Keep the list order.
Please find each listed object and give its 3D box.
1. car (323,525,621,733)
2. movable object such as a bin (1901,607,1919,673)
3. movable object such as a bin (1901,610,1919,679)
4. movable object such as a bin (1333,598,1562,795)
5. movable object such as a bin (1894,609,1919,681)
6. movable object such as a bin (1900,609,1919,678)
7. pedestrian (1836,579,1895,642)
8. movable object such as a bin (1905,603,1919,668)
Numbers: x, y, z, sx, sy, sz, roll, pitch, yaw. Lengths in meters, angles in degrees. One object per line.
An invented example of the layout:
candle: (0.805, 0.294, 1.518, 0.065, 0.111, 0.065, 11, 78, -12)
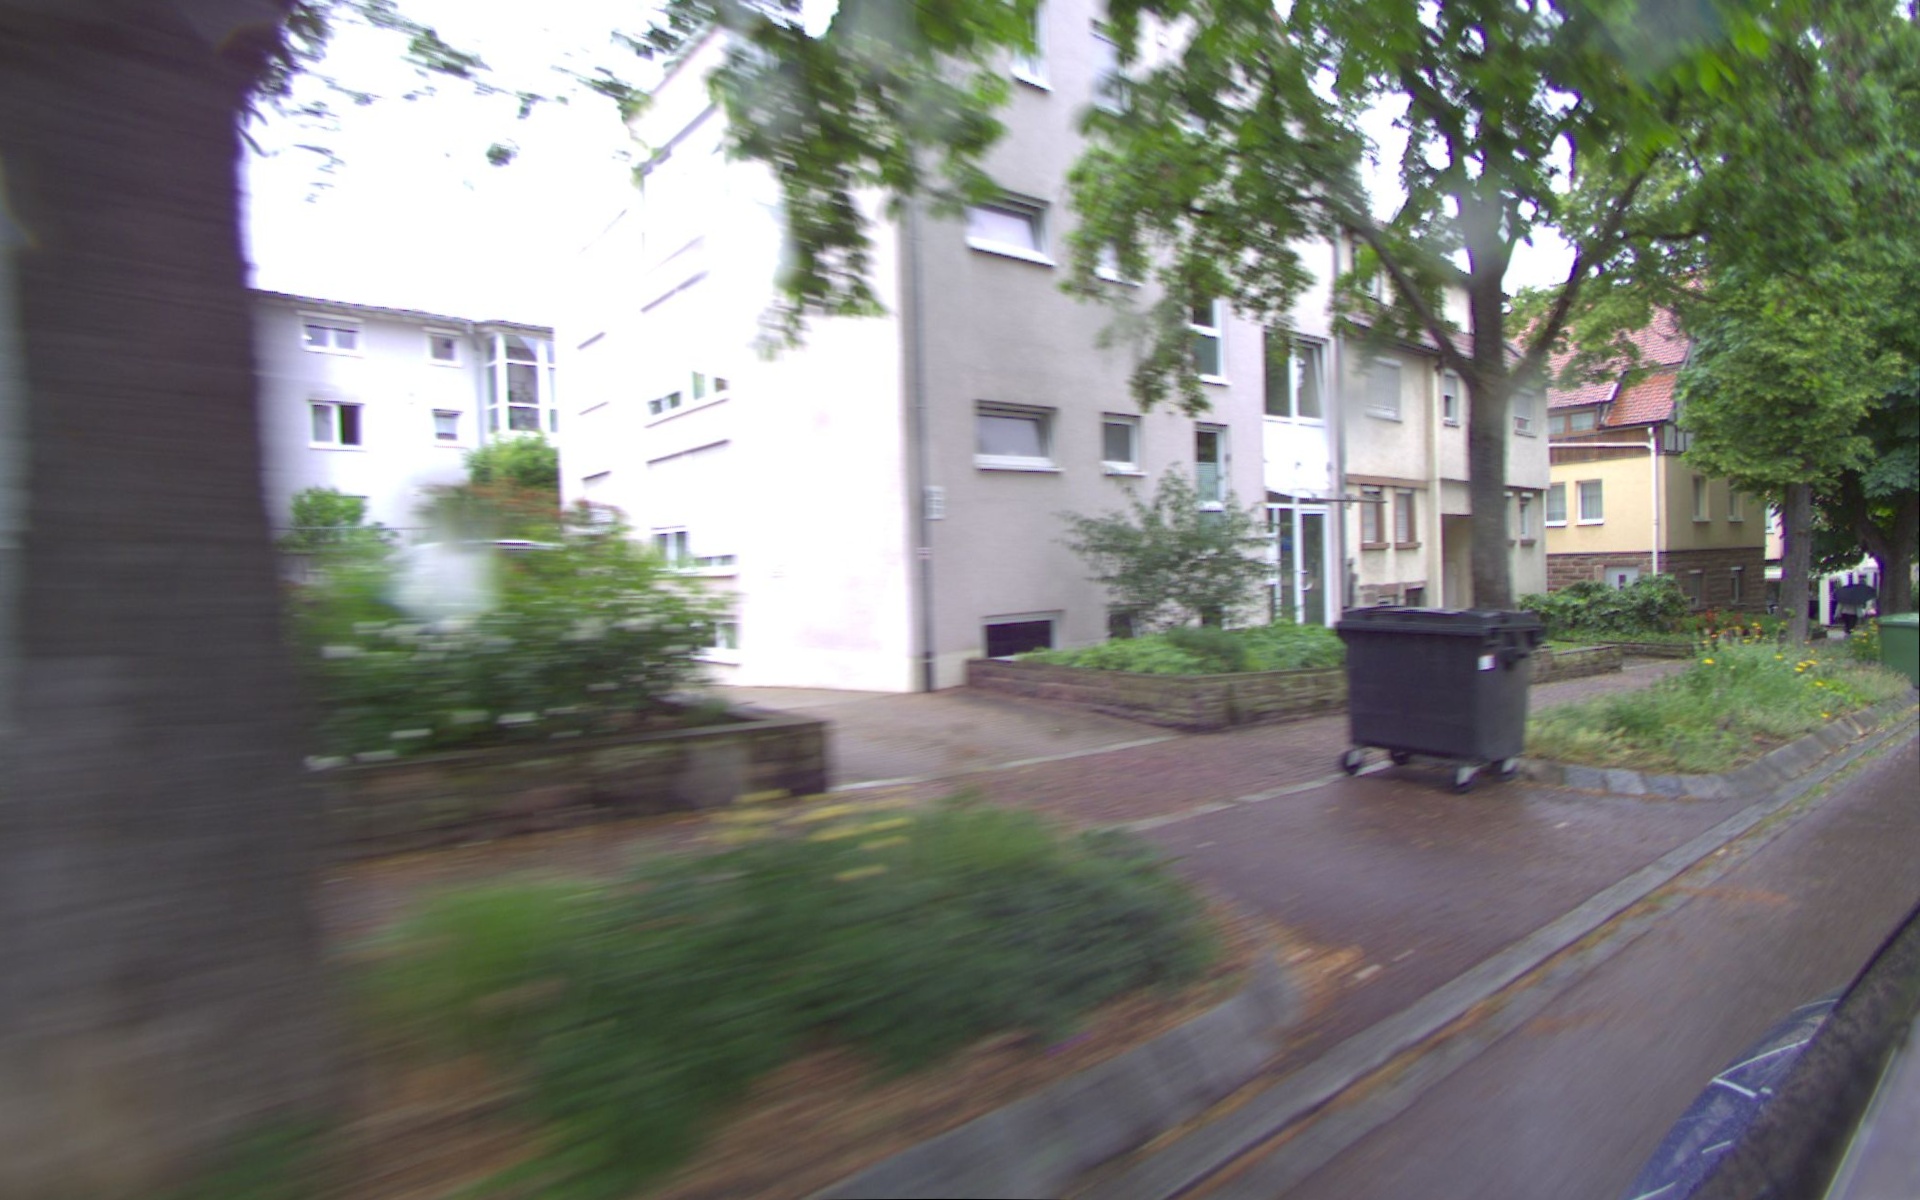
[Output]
car: (-5.783, 0.380, 11.660, 1.965, 1.925, 4.466, -1, -3, -41)
movable object such as a bin: (16.241, 0.667, 16.947, 0.532, 1.096, 0.688, 0, 0, -44)
movable object such as a bin: (15.419, 0.705, 16.107, 0.464, 1.096, 0.631, 0, 0, -44)
movable object such as a bin: (3.749, 0.661, 7.814, 1.113, 1.332, 1.228, 0, 1, -38)
movable object such as a bin: (14.946, 0.697, 15.690, 0.532, 1.096, 0.644, 0, 0, -44)
movable object such as a bin: (15.821, 0.709, 16.556, 0.504, 1.096, 0.610, 0, 0, -44)
pedestrian: (24.670, 0.272, 27.587, 0.778, 1.672, 0.959, 0, 1, -27)
movable object such as a bin: (16.709, 0.611, 17.361, 0.532, 1.096, 0.688, 0, 0, -44)
